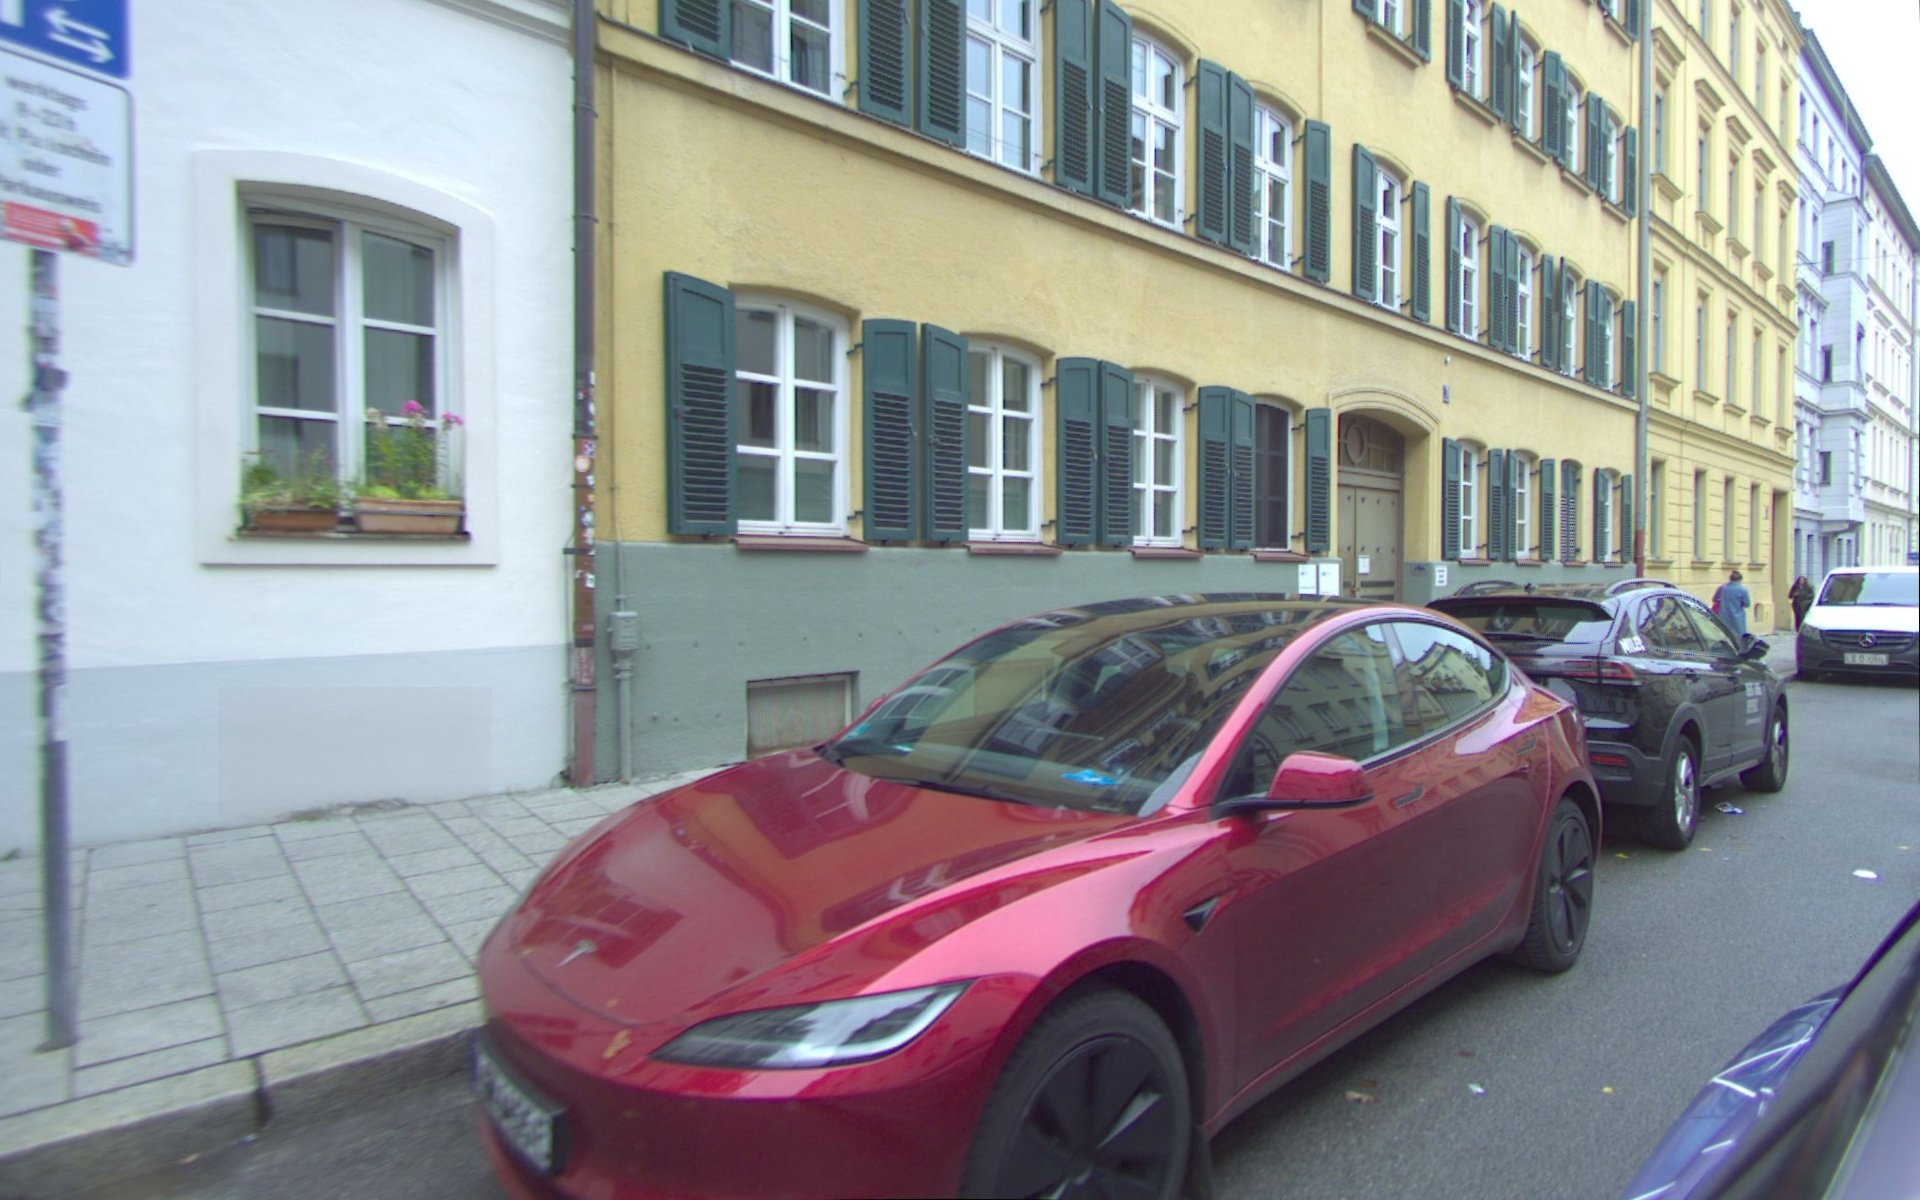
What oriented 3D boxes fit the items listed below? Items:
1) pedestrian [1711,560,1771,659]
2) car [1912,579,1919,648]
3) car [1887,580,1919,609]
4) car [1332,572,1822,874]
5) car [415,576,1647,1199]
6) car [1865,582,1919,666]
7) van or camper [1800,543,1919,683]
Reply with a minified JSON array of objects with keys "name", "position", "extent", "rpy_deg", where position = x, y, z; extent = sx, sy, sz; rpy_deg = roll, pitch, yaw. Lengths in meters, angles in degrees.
[{"name":"pedestrian","position":[13.546,0.150,17.550],"extent":[0.881,1.658,0.598],"rpy_deg":[0,4,-43]},{"name":"car","position":[22.987,0.300,23.013],"extent":[3.697,1.528,1.626],"rpy_deg":[-1,2,-42]},{"name":"car","position":[53.637,-0.278,55.516],"extent":[1.684,1.585,3.992],"rpy_deg":[-1,2,-43]},{"name":"car","position":[4.375,0.567,6.933],"extent":[3.930,1.482,1.749],"rpy_deg":[-1,2,-41]},{"name":"car","position":[0.749,0.640,3.508],"extent":[4.382,1.441,1.716],"rpy_deg":[-1,2,-42]},{"name":"car","position":[19.444,0.425,20.069],"extent":[4.510,1.528,1.818],"rpy_deg":[-1,2,-43]},{"name":"van or camper","position":[15.705,0.155,16.766],"extent":[5.143,2.039,1.997],"rpy_deg":[-1,2,-42]}]
